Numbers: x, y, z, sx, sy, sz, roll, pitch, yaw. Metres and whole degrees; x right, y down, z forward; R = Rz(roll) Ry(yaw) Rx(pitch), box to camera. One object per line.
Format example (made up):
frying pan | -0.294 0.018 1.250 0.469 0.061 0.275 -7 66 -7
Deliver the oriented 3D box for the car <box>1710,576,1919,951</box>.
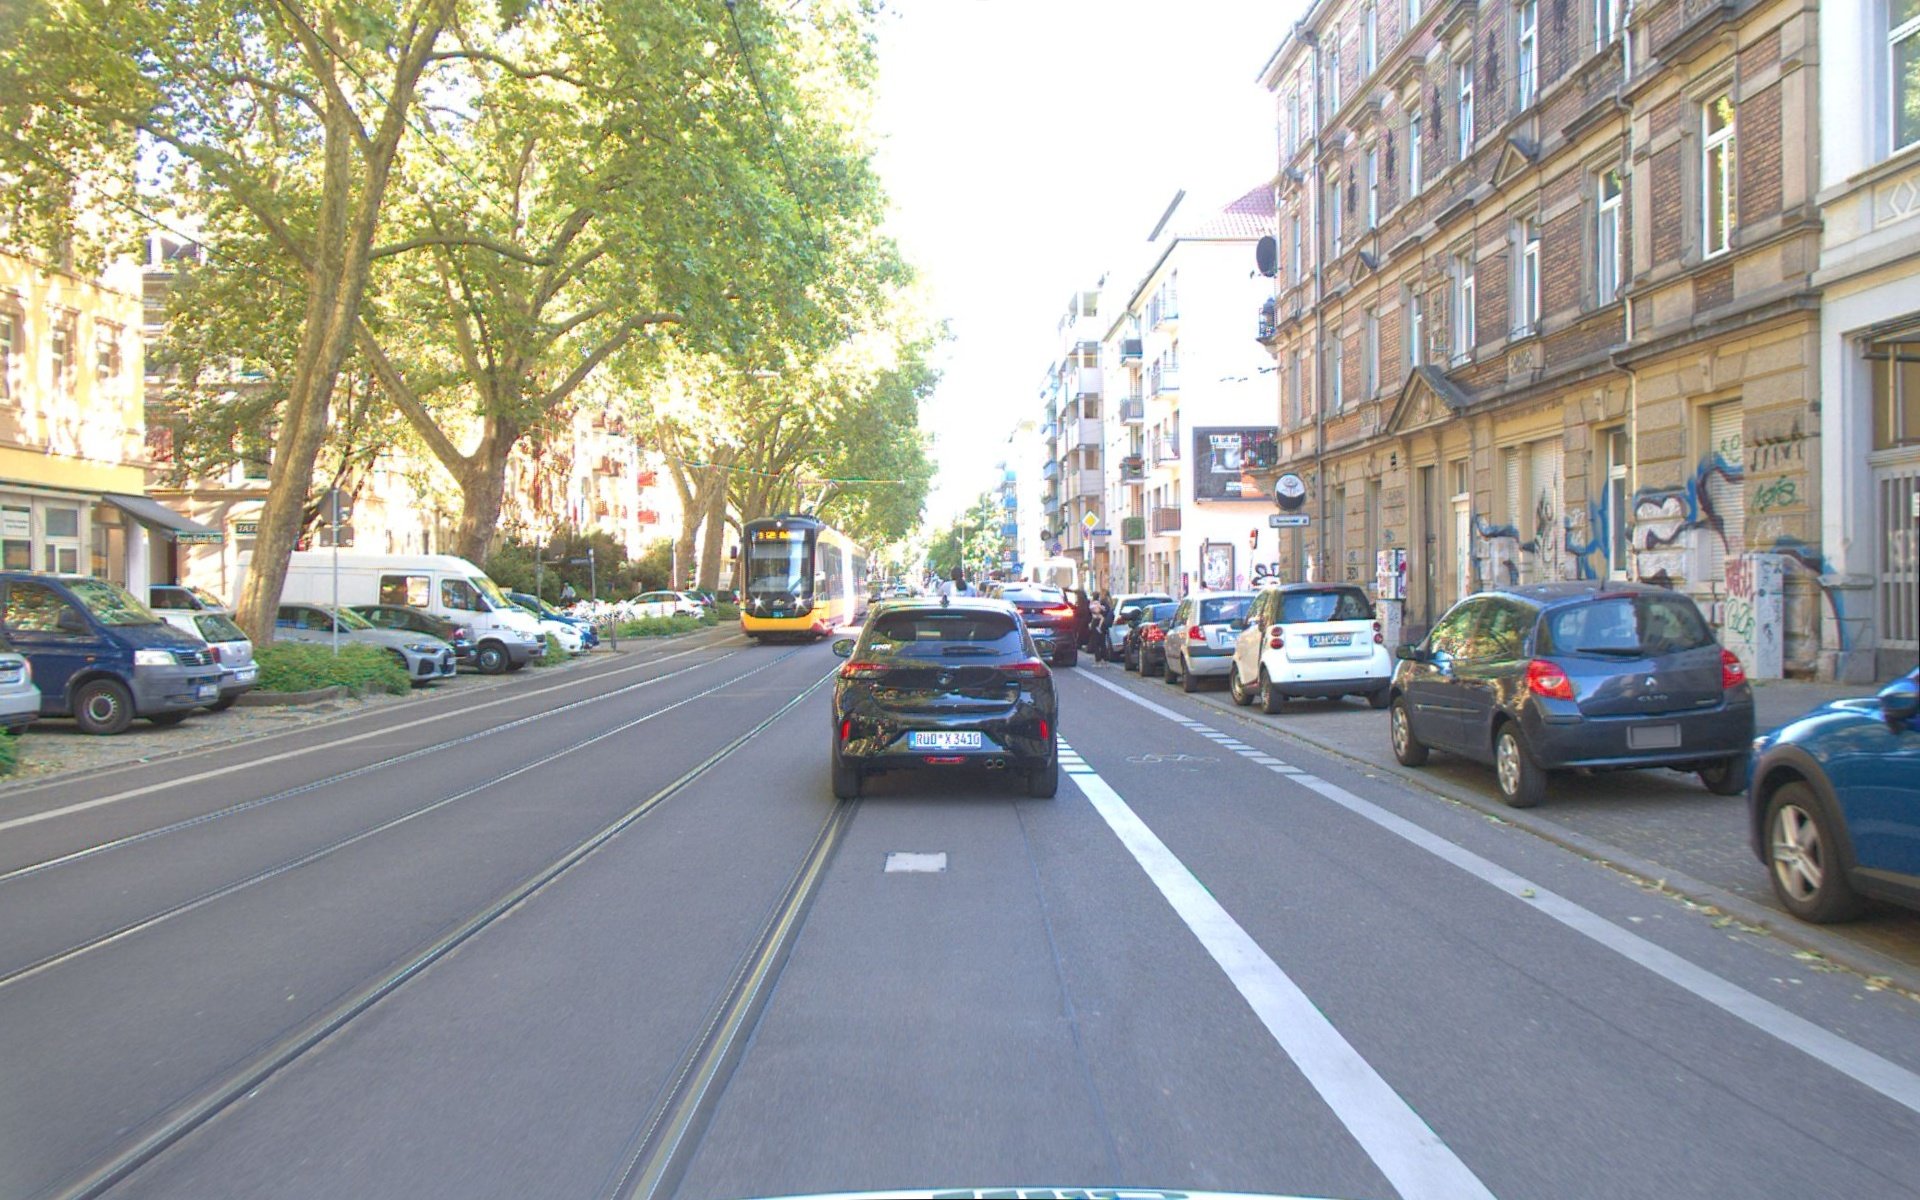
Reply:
car | 4.809 0.638 6.478 1.842 1.481 4.025 -4 0 0
